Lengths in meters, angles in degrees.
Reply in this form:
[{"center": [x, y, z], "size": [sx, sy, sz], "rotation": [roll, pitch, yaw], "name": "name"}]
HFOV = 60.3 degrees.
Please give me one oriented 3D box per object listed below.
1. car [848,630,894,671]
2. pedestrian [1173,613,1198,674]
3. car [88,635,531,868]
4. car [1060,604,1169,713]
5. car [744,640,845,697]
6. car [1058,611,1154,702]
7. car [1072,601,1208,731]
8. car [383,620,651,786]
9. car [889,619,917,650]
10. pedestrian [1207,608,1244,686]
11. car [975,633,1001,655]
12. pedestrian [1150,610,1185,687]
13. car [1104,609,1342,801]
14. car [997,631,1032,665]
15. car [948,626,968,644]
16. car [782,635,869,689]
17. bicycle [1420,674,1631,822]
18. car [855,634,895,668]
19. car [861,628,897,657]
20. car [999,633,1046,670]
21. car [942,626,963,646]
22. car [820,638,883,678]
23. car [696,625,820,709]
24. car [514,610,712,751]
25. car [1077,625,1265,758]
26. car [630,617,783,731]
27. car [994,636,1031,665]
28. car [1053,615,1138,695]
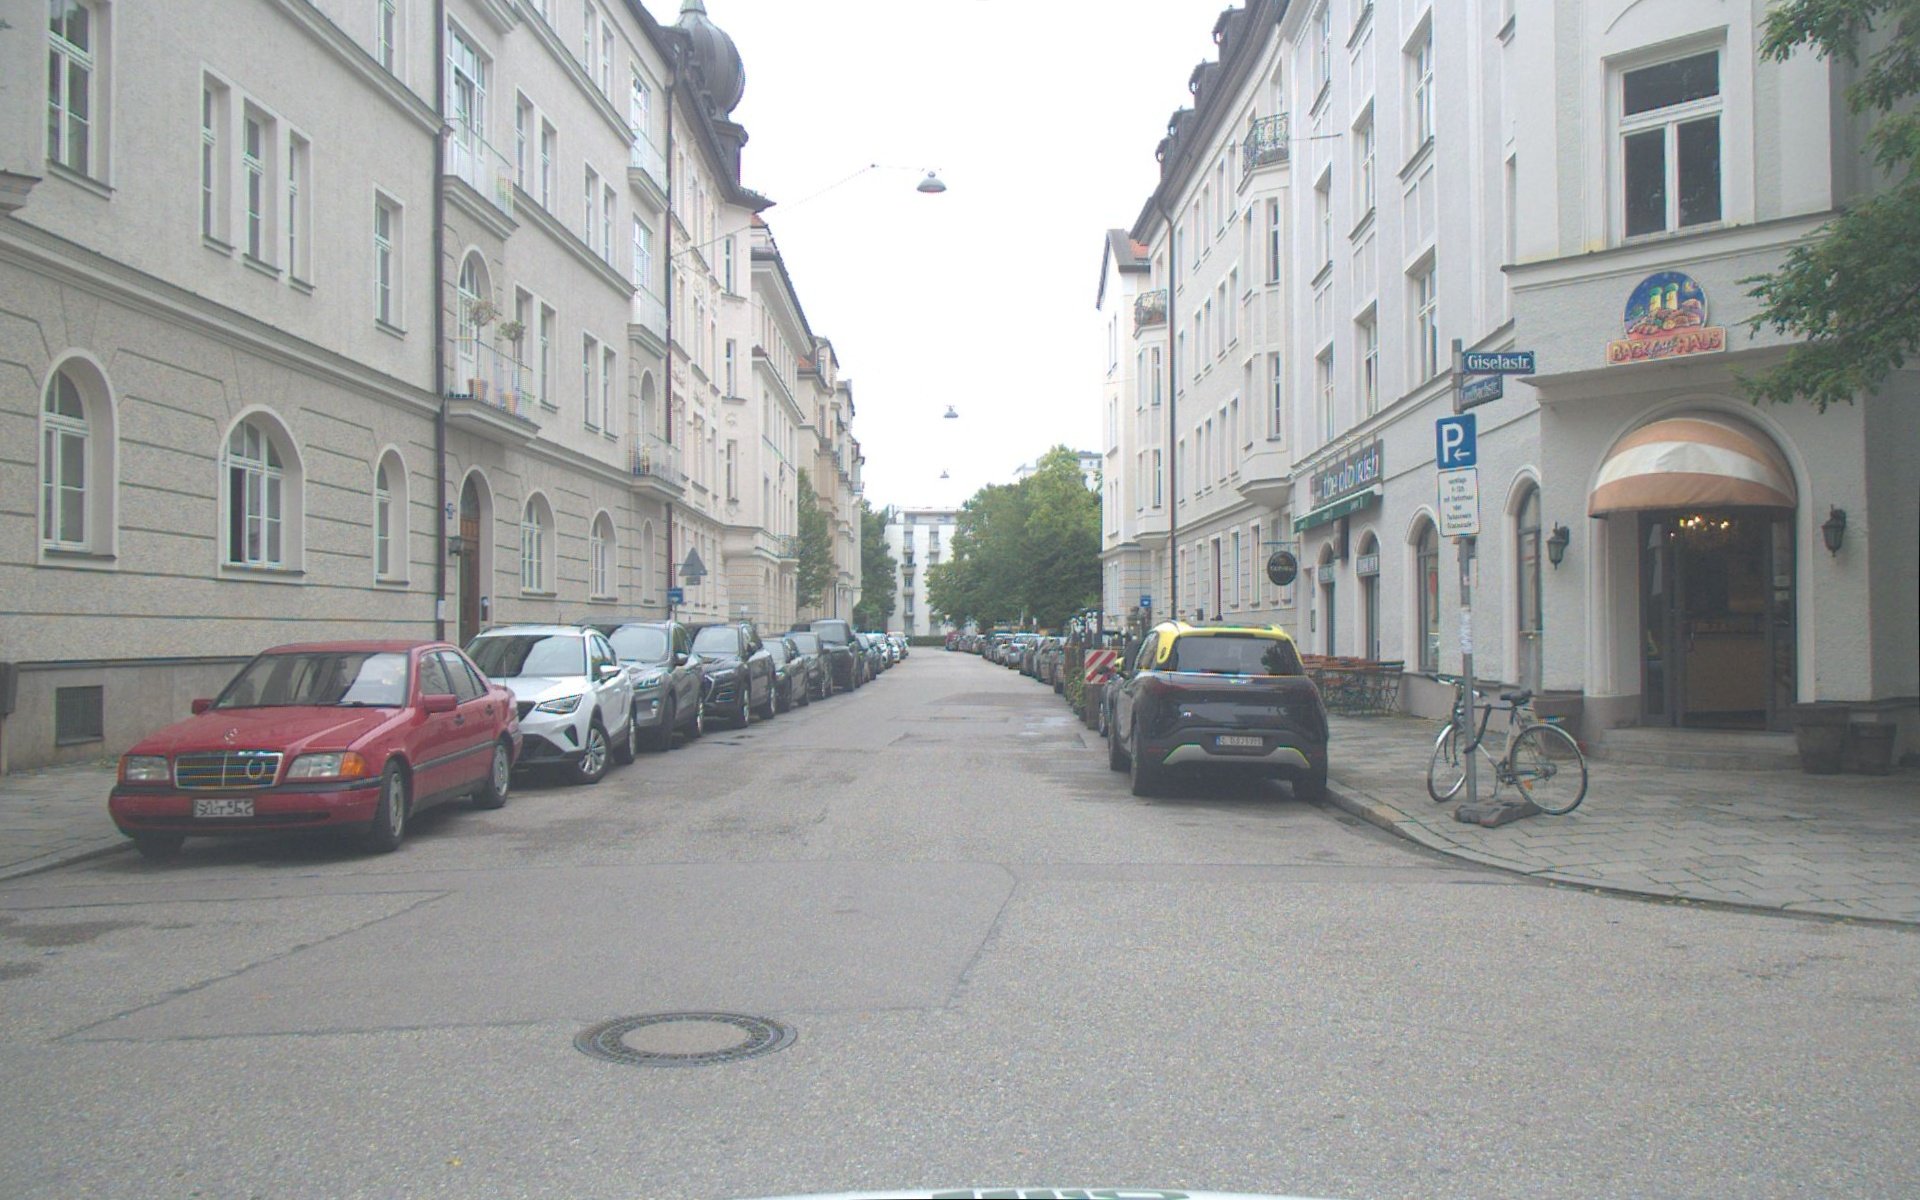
[{"center": [-3.579, 2.025, 67.250], "size": [1.784, 1.601, 3.998], "rotation": [0, -1, -2], "name": "car"}, {"center": [7.050, 1.343, 51.665], "size": [0.761, 1.883, 0.860], "rotation": [-1, -1, 8], "name": "pedestrian"}, {"center": [-4.574, 0.982, 12.359], "size": [1.695, 1.402, 4.225], "rotation": [0, -1, -1], "name": "car"}, {"center": [2.982, 1.114, 32.715], "size": [1.782, 1.957, 4.183], "rotation": [2, -1, 1], "name": "car"}, {"center": [-3.860, 1.583, 39.134], "size": [1.867, 1.244, 4.000], "rotation": [0, -1, 1], "name": "car"}, {"center": [3.185, 1.206, 36.724], "size": [1.952, 1.889, 4.346], "rotation": [0, -1, 3], "name": "car"}, {"center": [2.858, 1.028, 27.102], "size": [1.782, 1.904, 4.289], "rotation": [2, -1, 1], "name": "car"}, {"center": [-4.454, 0.979, 17.287], "size": [1.954, 1.499, 4.214], "rotation": [0, -1, -5], "name": "car"}, {"center": [-3.854, 2.356, 112.247], "size": [1.808, 2.049, 3.999], "rotation": [0, -1, -1], "name": "car"}, {"center": [6.523, 1.148, 40.697], "size": [0.762, 1.883, 1.023], "rotation": [0, -1, 1], "name": "pedestrian"}, {"center": [2.198, 3.457, 130.586], "size": [1.911, 1.681, 3.998], "rotation": [-2, -1, -2], "name": "car"}, {"center": [5.162, 1.198, 41.148], "size": [0.762, 1.883, 1.023], "rotation": [0, -1, 1], "name": "pedestrian"}, {"center": [2.540, 0.974, 16.942], "size": [1.782, 1.665, 4.289], "rotation": [2, -1, 1], "name": "car"}, {"center": [3.410, 2.979, 103.822], "size": [1.953, 2.017, 4.891], "rotation": [0, -1, -1], "name": "car"}, {"center": [-0.262, 3.844, 181.591], "size": [1.954, 2.017, 4.890], "rotation": [0, -1, -3], "name": "car"}, {"center": [-3.519, 1.613, 43.881], "size": [1.867, 1.352, 4.000], "rotation": [0, -1, 1], "name": "car"}, {"center": [4.478, 1.143, 13.225], "size": [0.532, 1.016, 1.743], "rotation": [-3, 0, -22], "name": "bicycle"}, {"center": [-3.742, 2.241, 73.204], "size": [1.699, 1.444, 3.998], "rotation": [0, -1, -2], "name": "car"}, {"center": [-4.575, 2.391, 94.080], "size": [1.953, 1.601, 3.998], "rotation": [0, -1, -2], "name": "car"}, {"center": [2.807, 2.304, 75.035], "size": [1.868, 1.604, 3.998], "rotation": [0, -1, -2], "name": "car"}, {"center": [-0.816, 3.647, 170.259], "size": [1.954, 2.017, 4.890], "rotation": [0, -1, -3], "name": "car"}, {"center": [-3.620, 1.934, 55.671], "size": [1.867, 1.244, 3.999], "rotation": [0, -1, 0], "name": "car"}, {"center": [-3.979, 1.286, 33.183], "size": [1.885, 1.573, 4.001], "rotation": [0, -1, 2], "name": "car"}, {"center": [-4.525, 1.014, 22.142], "size": [1.954, 1.705, 4.010], "rotation": [0, -1, -3], "name": "car"}, {"center": [2.663, 1.123, 21.942], "size": [1.935, 1.524, 4.637], "rotation": [2, -1, 1], "name": "car"}, {"center": [-4.073, 1.158, 27.201], "size": [1.953, 1.705, 4.287], "rotation": [0, -1, -1], "name": "car"}, {"center": [2.722, 2.580, 85.759], "size": [1.695, 1.442, 3.850], "rotation": [0, -1, -2], "name": "car"}, {"center": [3.305, 1.336, 40.959], "size": [1.782, 1.819, 4.183], "rotation": [2, -1, 1], "name": "car"}]
